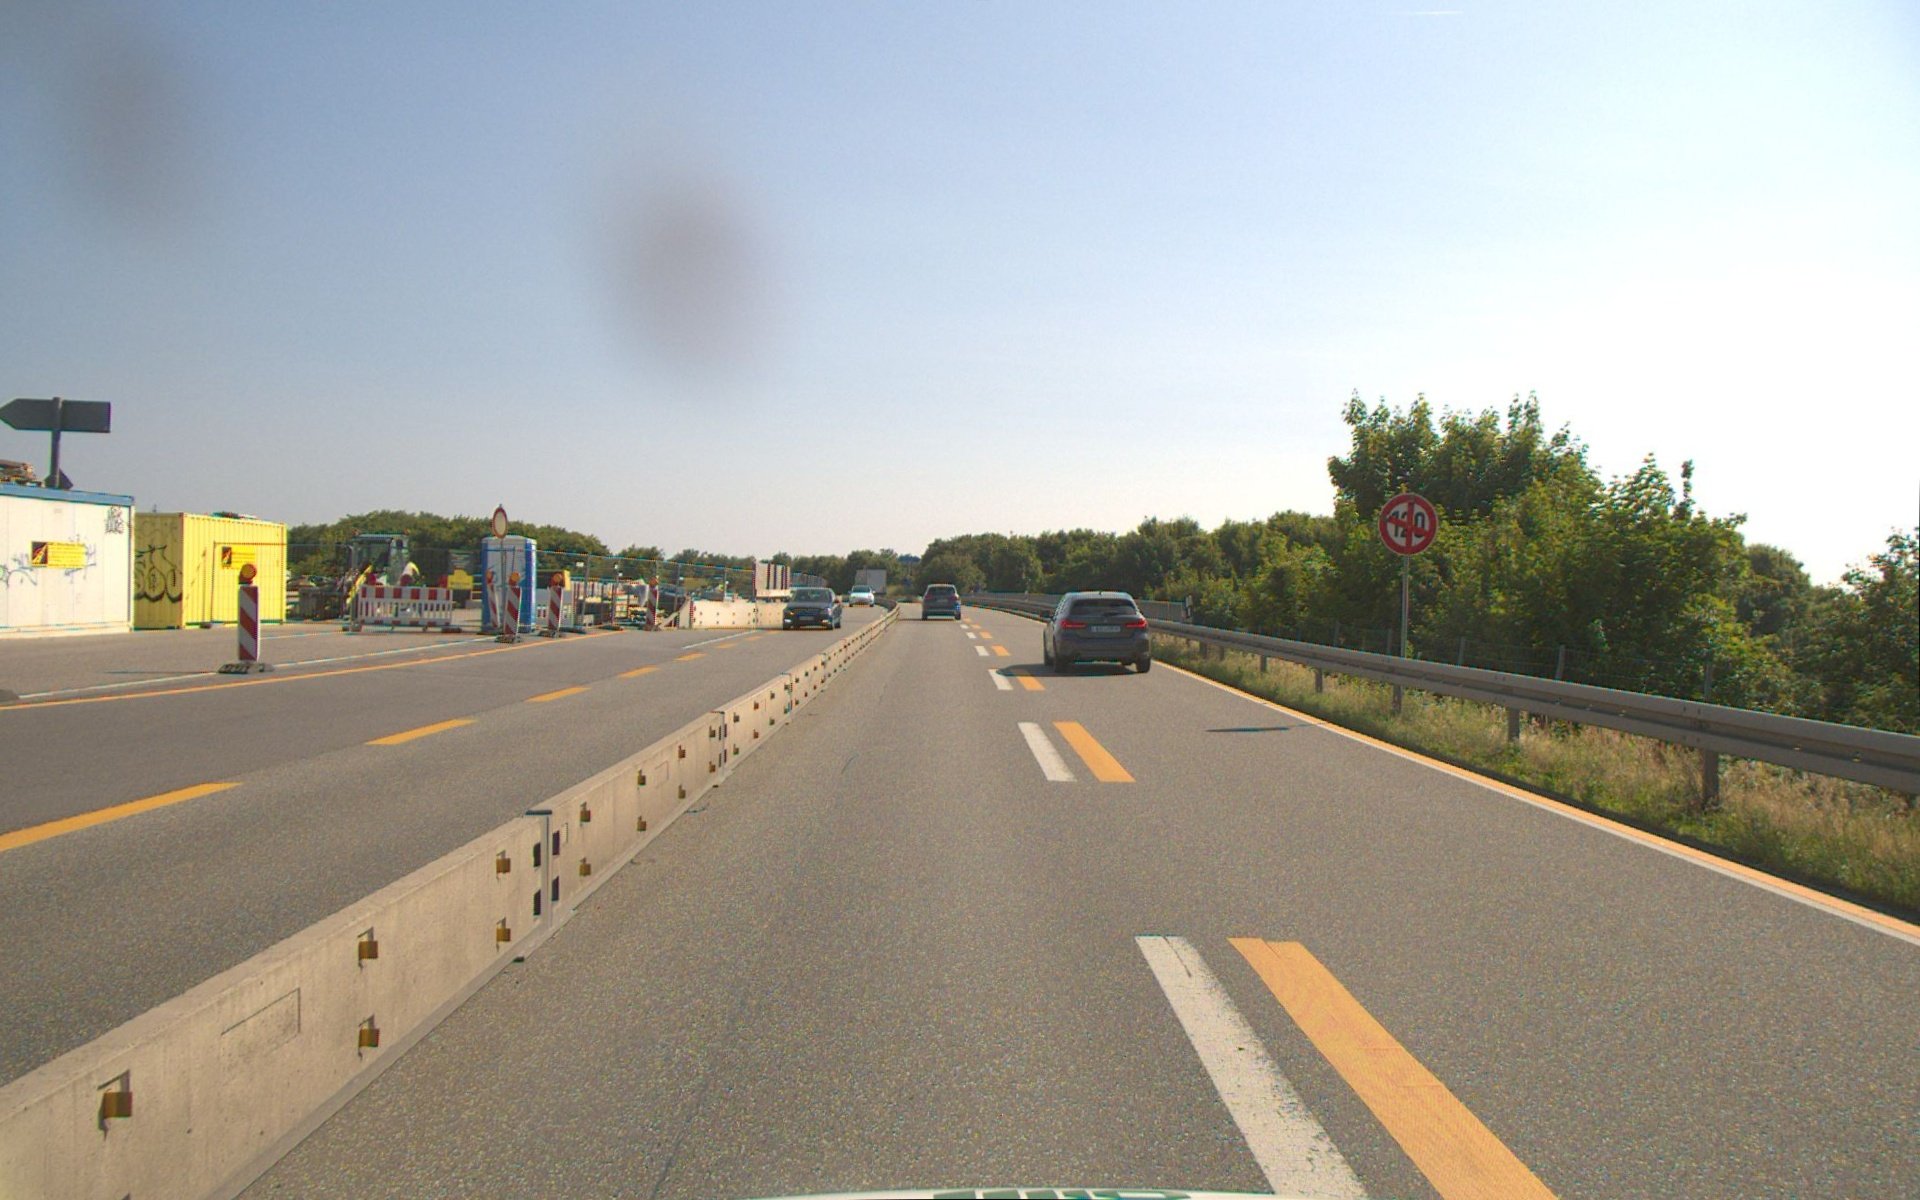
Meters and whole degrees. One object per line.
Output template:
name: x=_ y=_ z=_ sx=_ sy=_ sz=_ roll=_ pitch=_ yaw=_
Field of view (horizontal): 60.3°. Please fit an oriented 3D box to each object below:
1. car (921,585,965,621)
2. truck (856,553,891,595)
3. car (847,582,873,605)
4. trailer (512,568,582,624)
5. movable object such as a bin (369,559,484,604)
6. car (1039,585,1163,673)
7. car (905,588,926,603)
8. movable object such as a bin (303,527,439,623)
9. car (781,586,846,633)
car: x=-0.734 y=0.110 z=75.925 sx=1.952 sy=1.594 sz=4.000 roll=0 pitch=1 yaw=0
truck: x=-10.885 y=-3.202 z=207.161 sx=3.688 sy=4.997 sz=14.120 roll=1 pitch=1 yaw=-6
car: x=-7.758 y=-0.513 z=128.555 sx=1.942 sy=1.680 sz=4.546 roll=1 pitch=0 yaw=-3
trailer: x=-13.179 y=-0.140 z=52.978 sx=1.686 sy=1.677 sz=3.529 roll=2 pitch=0 yaw=-7
movable object such as a bin: x=-27.510 y=-0.953 z=85.298 sx=5.280 sy=2.153 sz=2.238 roll=2 pitch=0 yaw=18
car: x=2.596 y=0.498 z=31.264 sx=1.881 sy=1.520 sz=3.999 roll=1 pitch=1 yaw=-2
car: x=-5.210 y=-0.513 z=193.064 sx=1.956 sy=1.717 sz=3.993 roll=1 pitch=1 yaw=-8
movable object such as a bin: x=-17.845 y=-0.751 z=50.414 sx=1.988 sy=2.763 sz=5.110 roll=0 pitch=1 yaw=4
car: x=-5.098 y=0.307 z=58.130 sx=1.821 sy=1.499 sz=4.684 roll=2 pitch=1 yaw=0
